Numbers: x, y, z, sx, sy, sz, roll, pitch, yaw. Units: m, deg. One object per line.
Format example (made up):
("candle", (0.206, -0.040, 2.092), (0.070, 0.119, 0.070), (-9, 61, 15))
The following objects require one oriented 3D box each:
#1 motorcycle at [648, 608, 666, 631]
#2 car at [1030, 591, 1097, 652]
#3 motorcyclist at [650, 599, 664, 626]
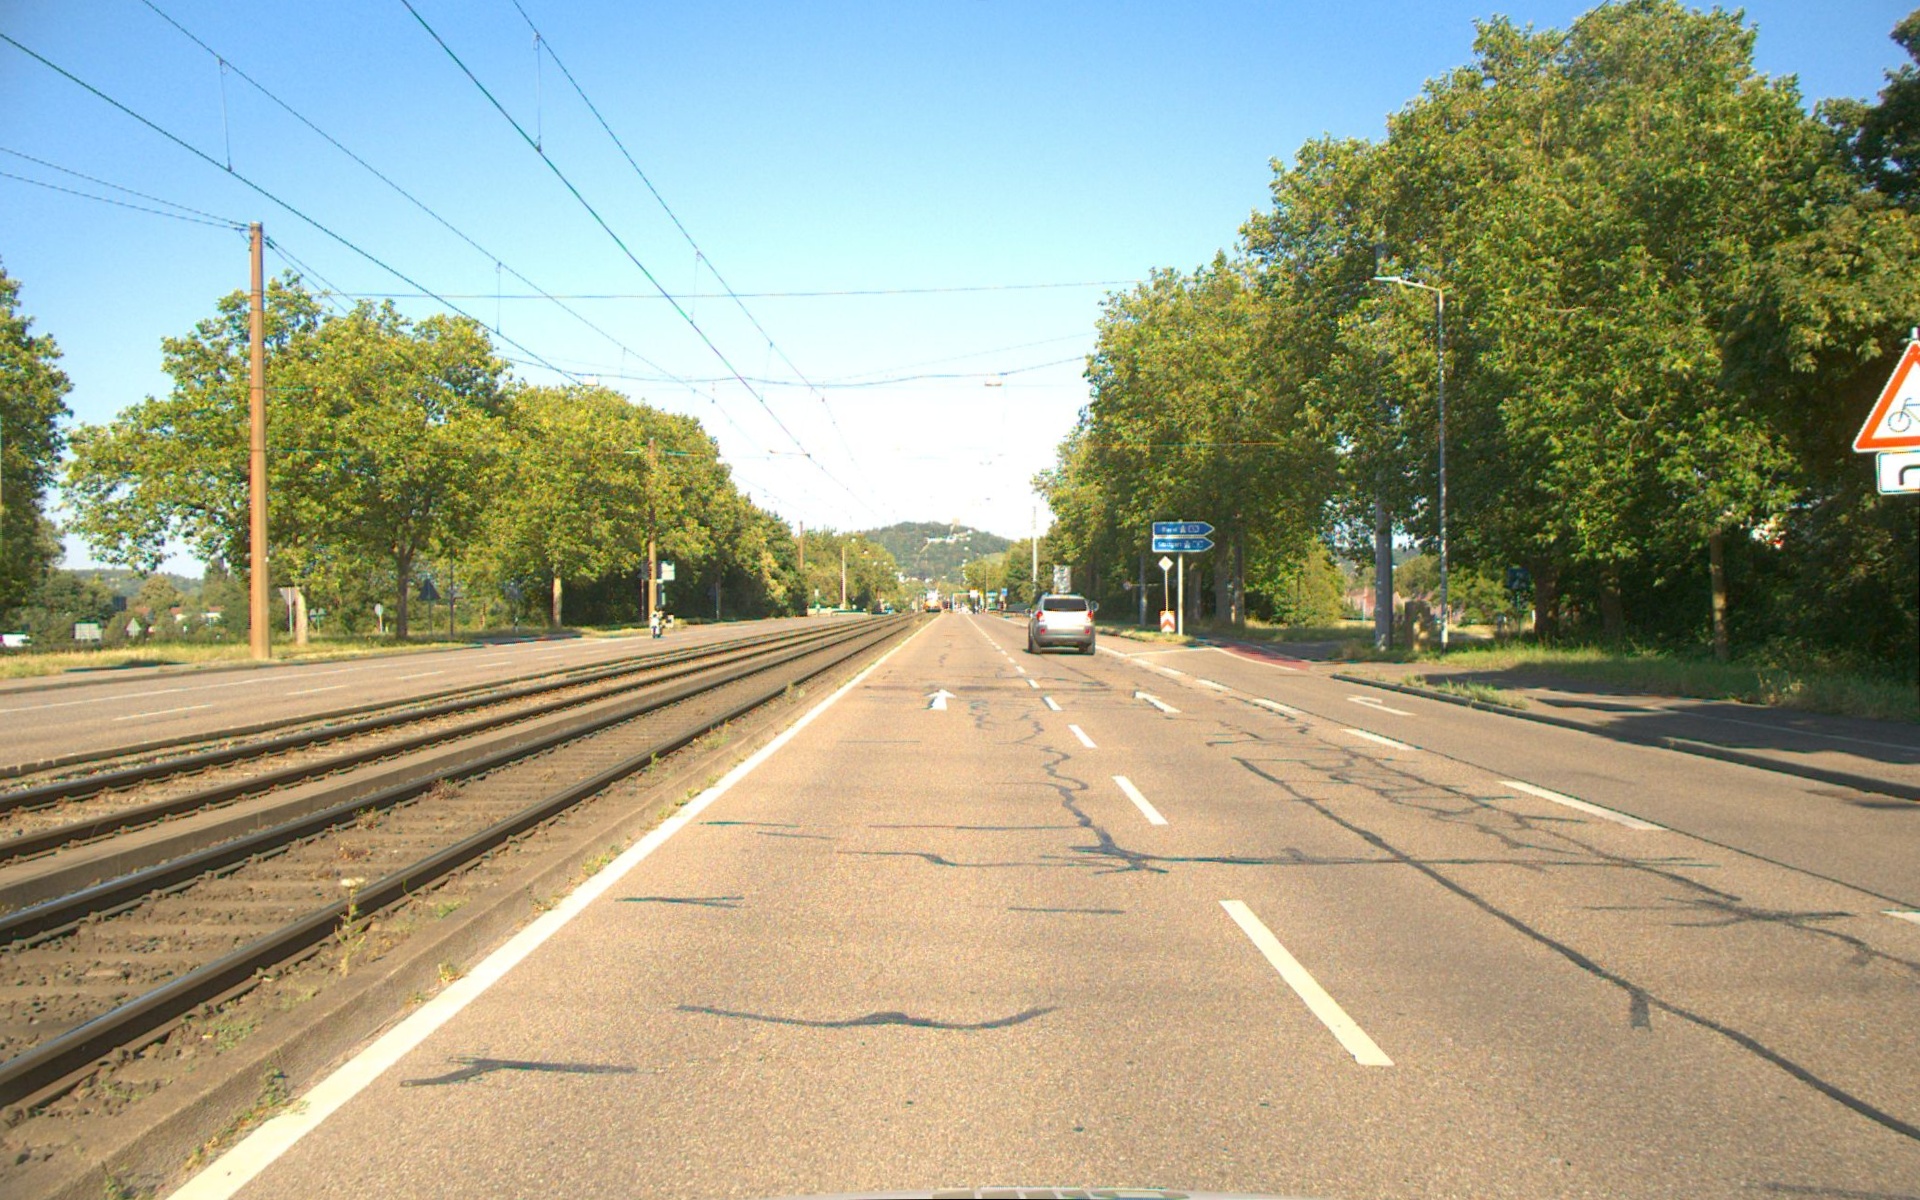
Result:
("motorcycle", (-14.526, 0.932, 79.288), (0.525, 1.110, 1.902), (1, 0, 0))
("car", (3.011, 0.619, 48.779), (1.849, 1.723, 4.257), (0, 0, 2))
("motorcyclist", (-14.524, 0.584, 79.280), (0.525, 1.292, 0.805), (1, -1, 0))
